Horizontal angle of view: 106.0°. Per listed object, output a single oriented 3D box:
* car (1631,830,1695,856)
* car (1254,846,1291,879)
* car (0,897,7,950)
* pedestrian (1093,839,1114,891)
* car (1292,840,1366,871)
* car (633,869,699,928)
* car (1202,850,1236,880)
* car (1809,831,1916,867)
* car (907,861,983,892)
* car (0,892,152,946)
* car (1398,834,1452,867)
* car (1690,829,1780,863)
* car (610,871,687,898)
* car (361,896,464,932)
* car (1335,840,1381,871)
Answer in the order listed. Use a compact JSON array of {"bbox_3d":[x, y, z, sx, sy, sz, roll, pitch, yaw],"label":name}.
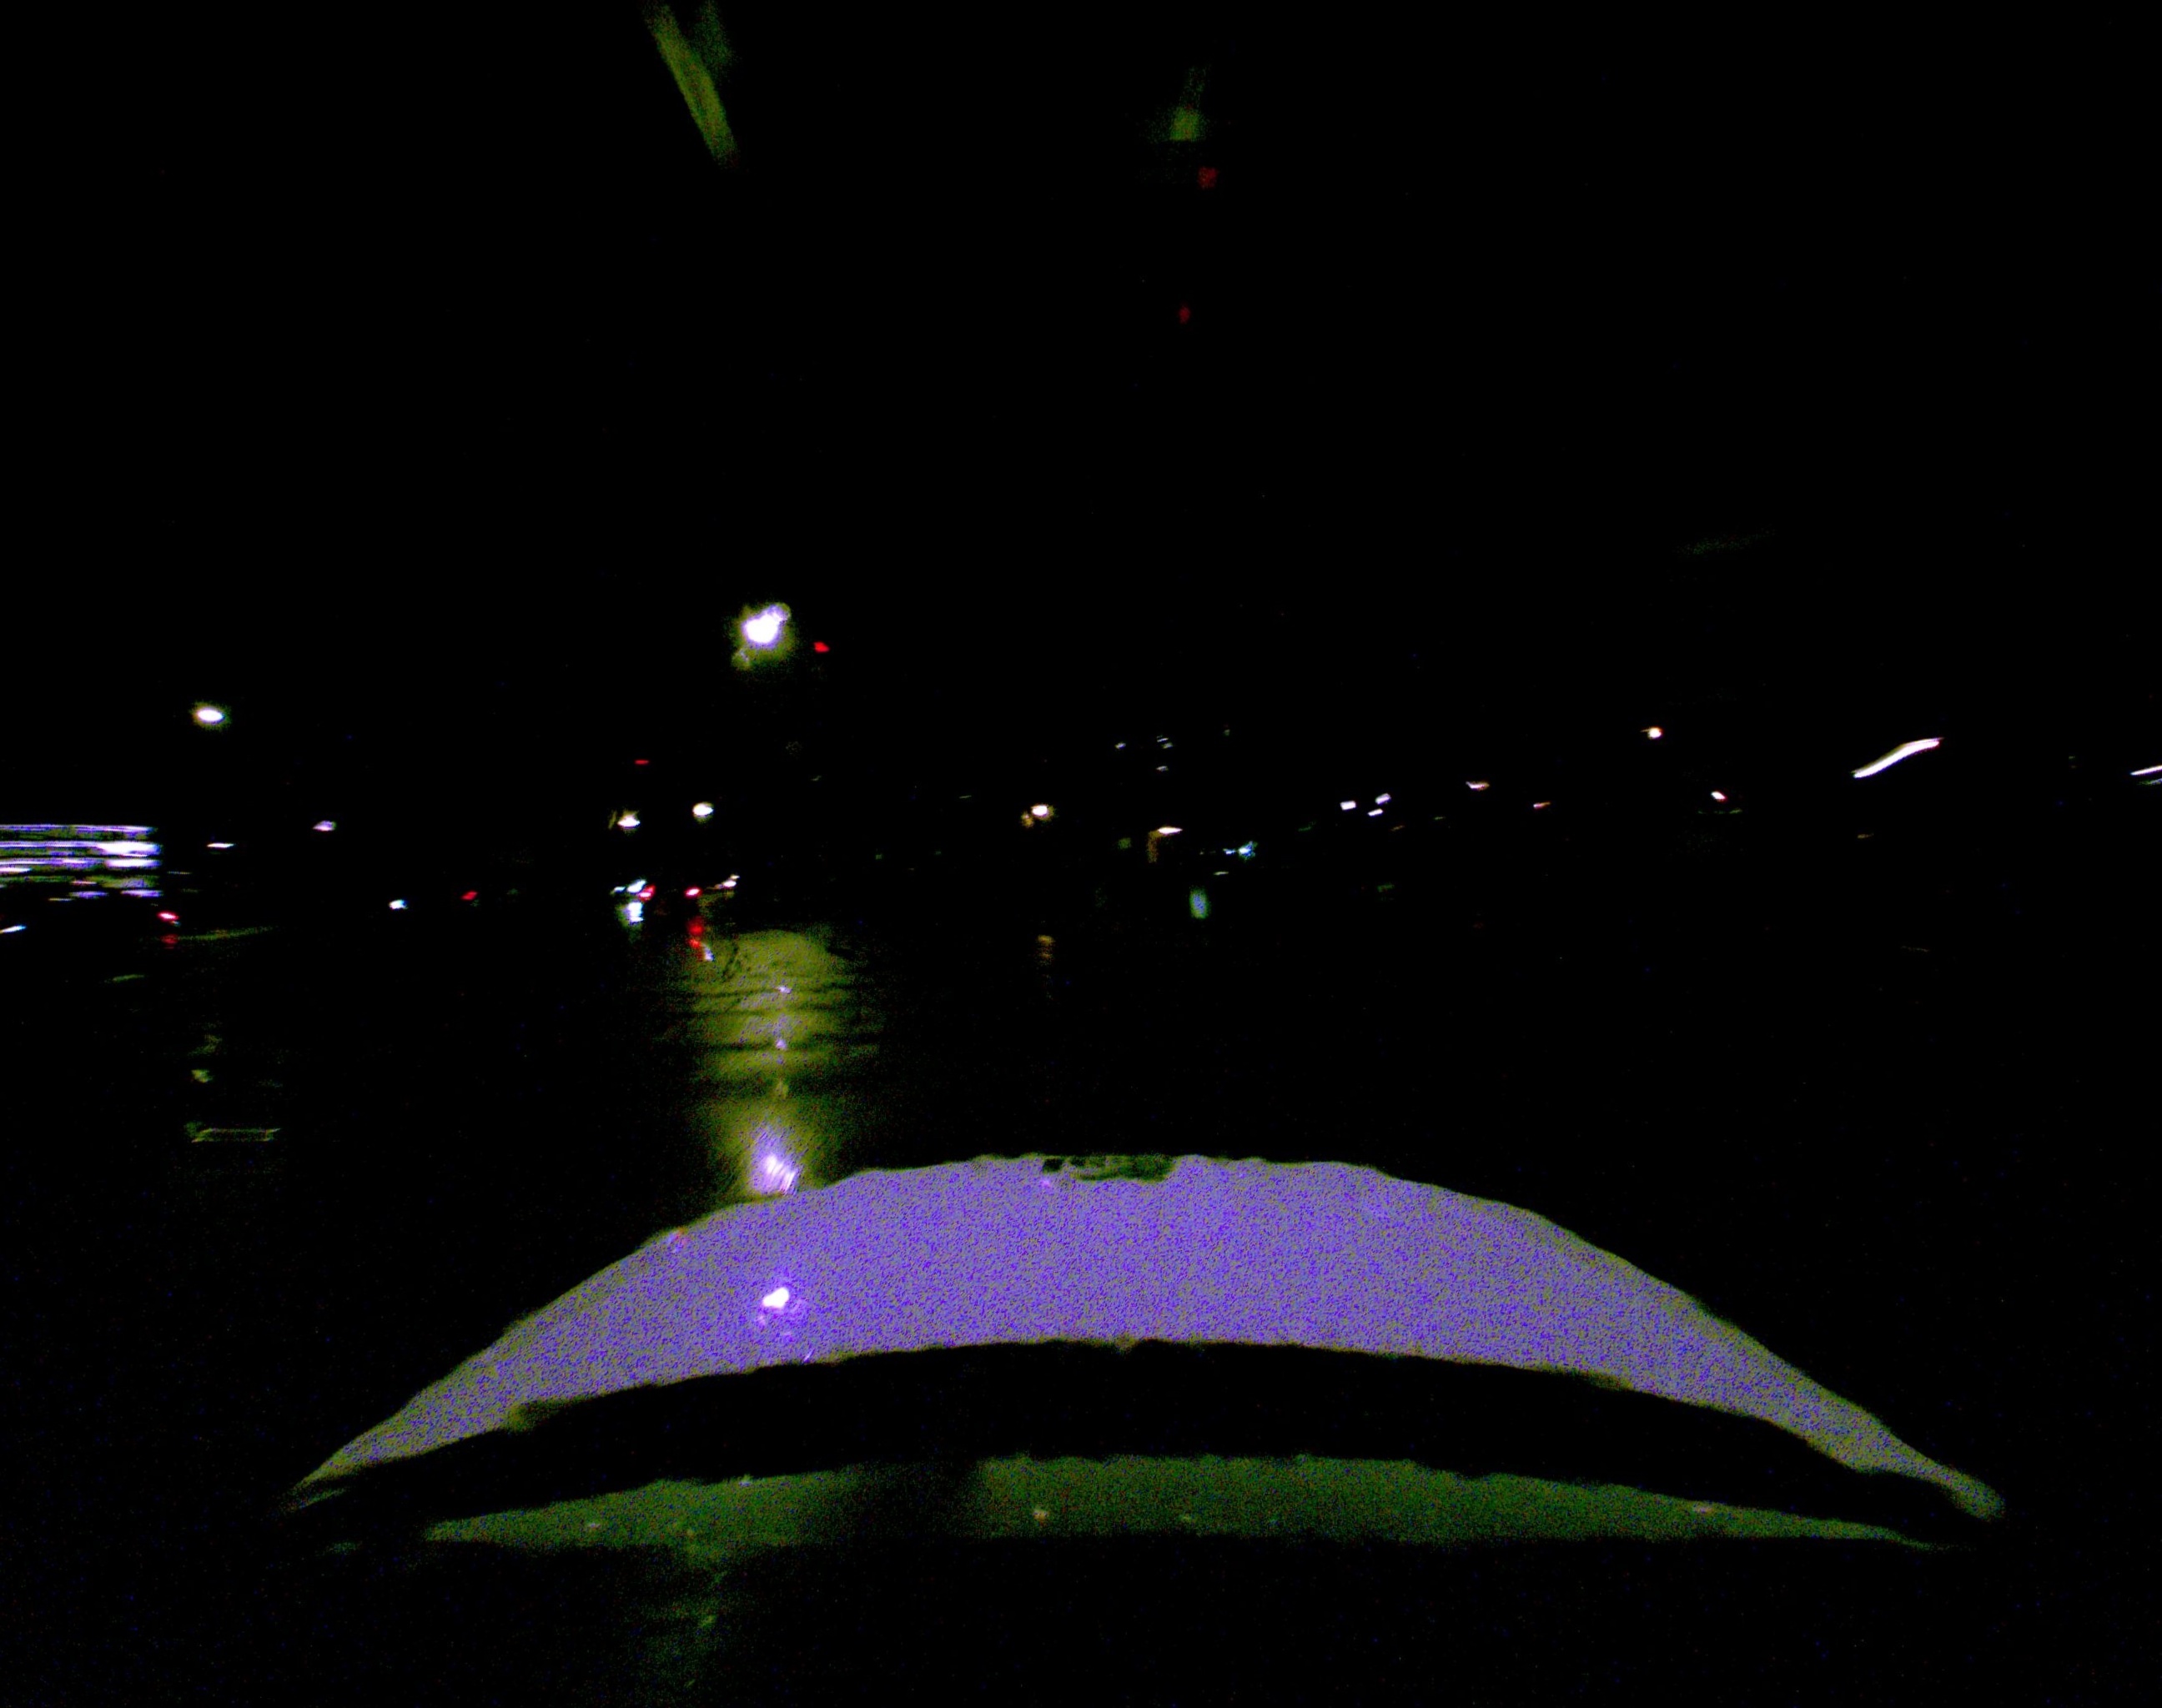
[{"bbox_3d":[35.720,-0.655,50.128,1.705,1.536,3.923,-1,0,11],"label":"car"},{"bbox_3d":[10.048,0.485,42.968,1.705,1.497,3.922,-3,-4,11],"label":"car"},{"bbox_3d":[-34.544,2.152,24.135,3.925,1.579,1.743,-1,0,12],"label":"car"},{"bbox_3d":[0.819,0.397,30.439,0.651,1.902,0.727,-1,-1,-6],"label":"pedestrian"},{"bbox_3d":[14.640,0.087,48.198,4.027,1.682,1.798,-1,0,12],"label":"car"},{"bbox_3d":[-15.923,1.621,31.116,2.006,2.014,4.514,-1,0,-30],"label":"car"},{"bbox_3d":[7.501,0.584,43.936,1.705,1.497,3.923,-1,0,11],"label":"car"},{"bbox_3d":[36.300,-0.233,37.949,1.705,1.536,3.923,-1,0,11],"label":"car"},{"bbox_3d":[-8.099,1.334,48.444,3.954,1.684,1.928,-2,0,19],"label":"car"},{"bbox_3d":[-33.447,2.139,27.030,3.596,1.579,1.741,-1,0,8],"label":"car"},{"bbox_3d":[17.540,-0.174,41.683,1.705,1.536,3.923,-1,0,11],"label":"car"},{"bbox_3d":[31.396,-0.368,39.238,1.705,1.536,3.923,-1,0,11],"label":"car"},{"bbox_3d":[-31.057,2.158,58.649,1.976,1.736,4.645,-2,0,23],"label":"car"},{"bbox_3d":[-36.483,3.249,44.548,1.840,1.640,3.915,-2,0,29],"label":"car"},{"bbox_3d":[14.362,0.069,42.386,1.705,1.497,3.923,-1,0,11],"label":"car"}]
